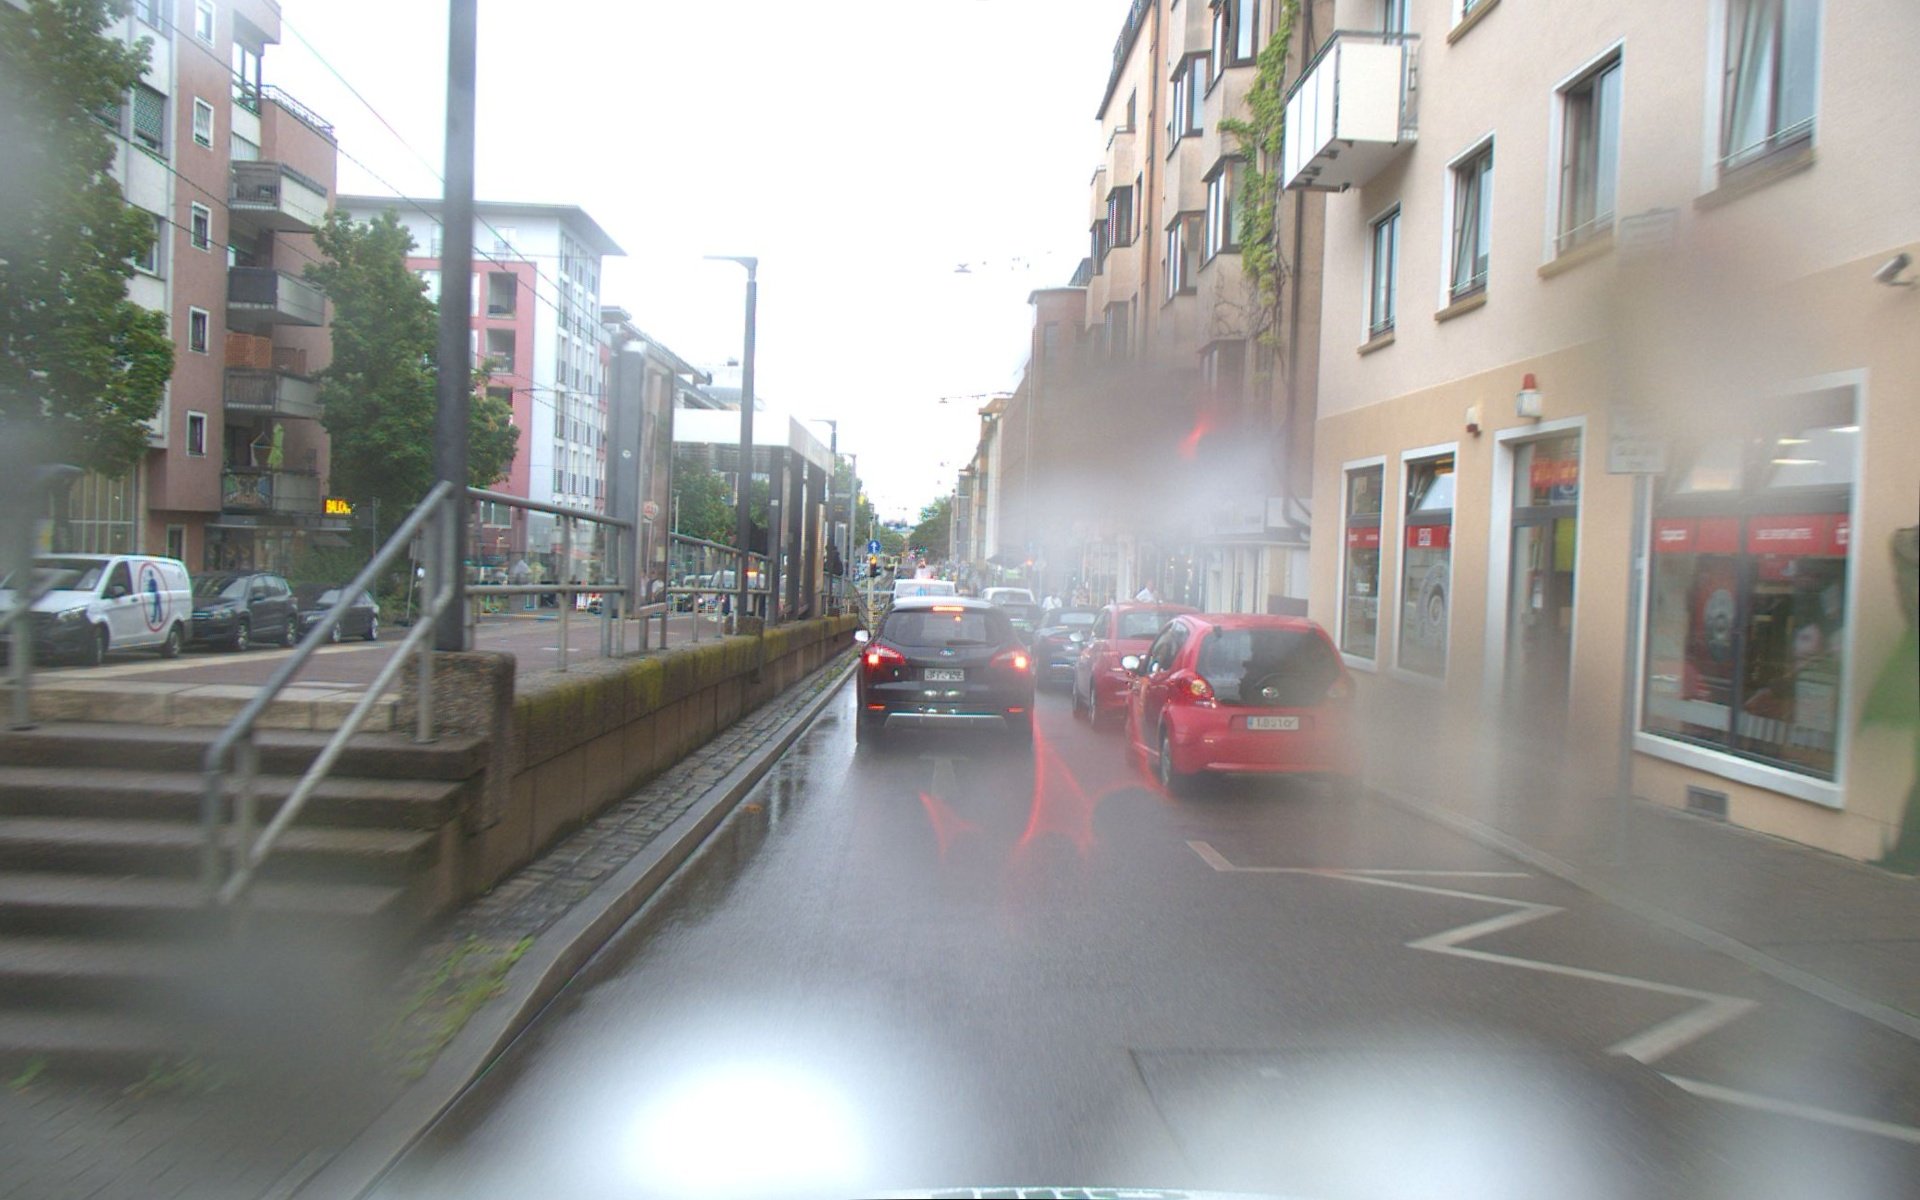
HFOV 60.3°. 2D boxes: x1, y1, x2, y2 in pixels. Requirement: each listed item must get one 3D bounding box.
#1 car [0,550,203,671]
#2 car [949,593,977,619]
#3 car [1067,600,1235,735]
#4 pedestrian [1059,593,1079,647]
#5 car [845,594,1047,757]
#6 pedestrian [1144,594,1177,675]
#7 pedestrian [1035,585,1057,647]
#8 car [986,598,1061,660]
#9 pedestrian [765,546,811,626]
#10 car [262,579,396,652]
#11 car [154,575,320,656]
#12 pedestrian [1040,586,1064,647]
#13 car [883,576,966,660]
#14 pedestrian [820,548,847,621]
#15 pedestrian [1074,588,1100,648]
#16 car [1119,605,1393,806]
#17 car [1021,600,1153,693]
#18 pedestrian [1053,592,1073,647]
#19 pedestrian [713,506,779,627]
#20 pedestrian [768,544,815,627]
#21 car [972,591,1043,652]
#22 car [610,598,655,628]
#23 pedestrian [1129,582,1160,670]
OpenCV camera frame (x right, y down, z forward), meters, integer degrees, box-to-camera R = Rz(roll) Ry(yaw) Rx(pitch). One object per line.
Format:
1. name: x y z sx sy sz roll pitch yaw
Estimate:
1. car: -15.102 0.157 28.686 1.870 1.877 5.252 1 0 -5
2. car: 0.164 0.374 101.962 1.664 1.505 3.867 -1 0 0
3. car: 2.275 0.771 20.434 1.612 1.488 3.413 1 0 -1
4. pedestrian: 3.543 0.638 53.790 0.564 1.744 0.477 1 -1 0
5. car: -0.152 0.717 17.327 1.868 1.488 3.444 1 0 -1
6. pedestrian: 4.272 0.727 35.253 0.534 1.710 0.594 1 -1 -9
7. pedestrian: 2.774 0.515 53.516 0.638 1.982 0.533 1 -1 0
8. car: 1.773 0.803 47.234 1.868 1.644 4.412 1 0 -1
9. pedestrian: -2.907 -0.240 28.014 0.713 1.325 0.700 1 -1 -4
10. car: -15.345 0.364 40.466 1.605 1.652 4.370 1 0 -1
11. car: -15.191 0.324 35.000 1.605 1.563 4.370 1 0 -1
12. pedestrian: 2.891 0.529 51.785 0.681 1.887 0.652 1 -1 0
13. car: -0.846 0.422 40.541 1.868 1.897 4.573 1 0 -1
14. pedestrian: -2.898 -0.353 37.994 0.572 1.637 0.700 1 -1 -4
15. pedestrian: 3.987 0.564 51.999 0.740 1.851 0.588 1 -1 0
16. car: 2.429 0.812 14.343 1.681 1.488 3.444 1 0 -1
17. car: 2.187 0.782 29.587 1.868 1.488 4.244 1 0 -2
18. pedestrian: 3.263 0.616 52.410 0.598 1.744 0.581 1 -1 0
19. pedestrian: -3.165 -0.493 24.537 0.898 1.754 0.700 1 -1 -4
20. pedestrian: -2.755 -0.238 27.029 0.713 1.325 0.700 1 -1 -4
21. car: 1.476 0.664 53.266 1.868 1.838 4.774 1 0 -3
22. car: -15.437 0.612 78.062 1.606 1.361 3.732 1 0 -4
23. pedestrian: 4.020 0.555 35.965 0.519 1.891 0.555 1 -1 -9
